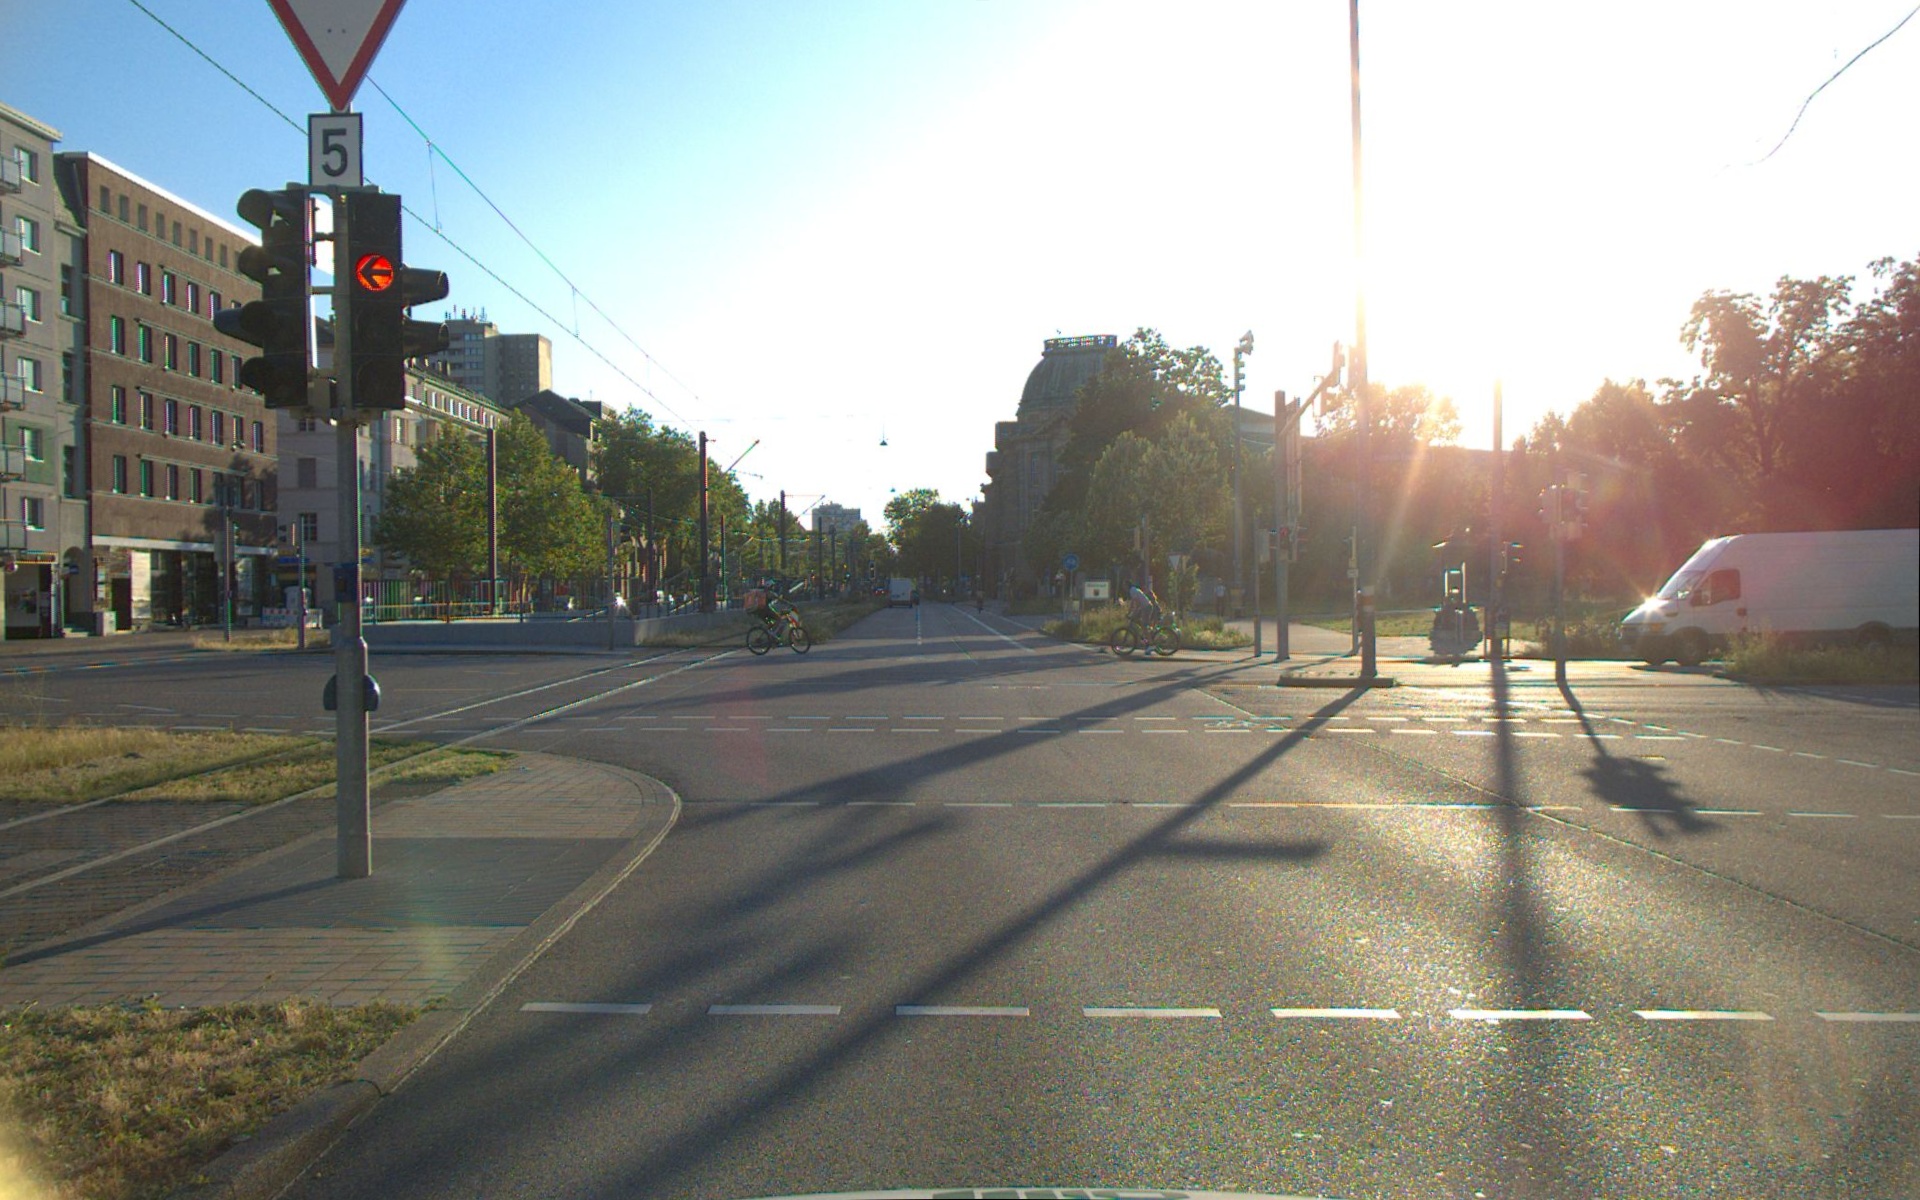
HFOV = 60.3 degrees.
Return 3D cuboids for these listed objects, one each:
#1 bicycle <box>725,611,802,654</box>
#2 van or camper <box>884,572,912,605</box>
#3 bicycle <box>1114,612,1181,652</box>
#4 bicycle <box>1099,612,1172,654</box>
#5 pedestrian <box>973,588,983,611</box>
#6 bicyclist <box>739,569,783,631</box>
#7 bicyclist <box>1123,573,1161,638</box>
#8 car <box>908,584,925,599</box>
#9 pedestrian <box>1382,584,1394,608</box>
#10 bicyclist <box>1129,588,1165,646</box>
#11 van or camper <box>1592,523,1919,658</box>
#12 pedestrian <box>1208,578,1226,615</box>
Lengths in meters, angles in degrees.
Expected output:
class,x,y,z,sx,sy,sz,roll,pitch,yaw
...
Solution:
class,x,y,z,sx,sy,sz,roll,pitch,yaw
bicycle,-4.734,0.790,39.865,1.709,0.987,0.698,1,2,-29
van or camper,-5.369,-1.005,143.400,2.217,2.670,4.503,-1,2,-1
bicycle,4.894,0.829,43.176,1.684,0.987,0.609,0,1,-3
bicycle,4.357,0.814,41.096,1.696,0.987,0.608,0,1,-8
pedestrian,1.179,-0.039,109.543,0.603,1.501,0.800,-1,1,3
bicyclist,-4.789,0.005,39.810,0.843,1.467,0.657,1,1,-28
bicyclist,4.520,0.129,41.111,0.782,1.598,0.662,-1,1,-7
car,-4.478,-0.848,170.299,1.702,1.410,4.000,-1,2,-1
pedestrian,30.675,-0.277,118.618,0.780,1.731,0.801,-1,0,14
bicyclist,4.881,0.435,43.156,0.836,1.467,0.663,-1,1,-2
van or camper,17.703,-0.240,36.012,6.898,2.721,2.599,-1,2,1
pedestrian,11.412,-0.158,73.463,0.668,1.639,0.612,-1,1,-1
